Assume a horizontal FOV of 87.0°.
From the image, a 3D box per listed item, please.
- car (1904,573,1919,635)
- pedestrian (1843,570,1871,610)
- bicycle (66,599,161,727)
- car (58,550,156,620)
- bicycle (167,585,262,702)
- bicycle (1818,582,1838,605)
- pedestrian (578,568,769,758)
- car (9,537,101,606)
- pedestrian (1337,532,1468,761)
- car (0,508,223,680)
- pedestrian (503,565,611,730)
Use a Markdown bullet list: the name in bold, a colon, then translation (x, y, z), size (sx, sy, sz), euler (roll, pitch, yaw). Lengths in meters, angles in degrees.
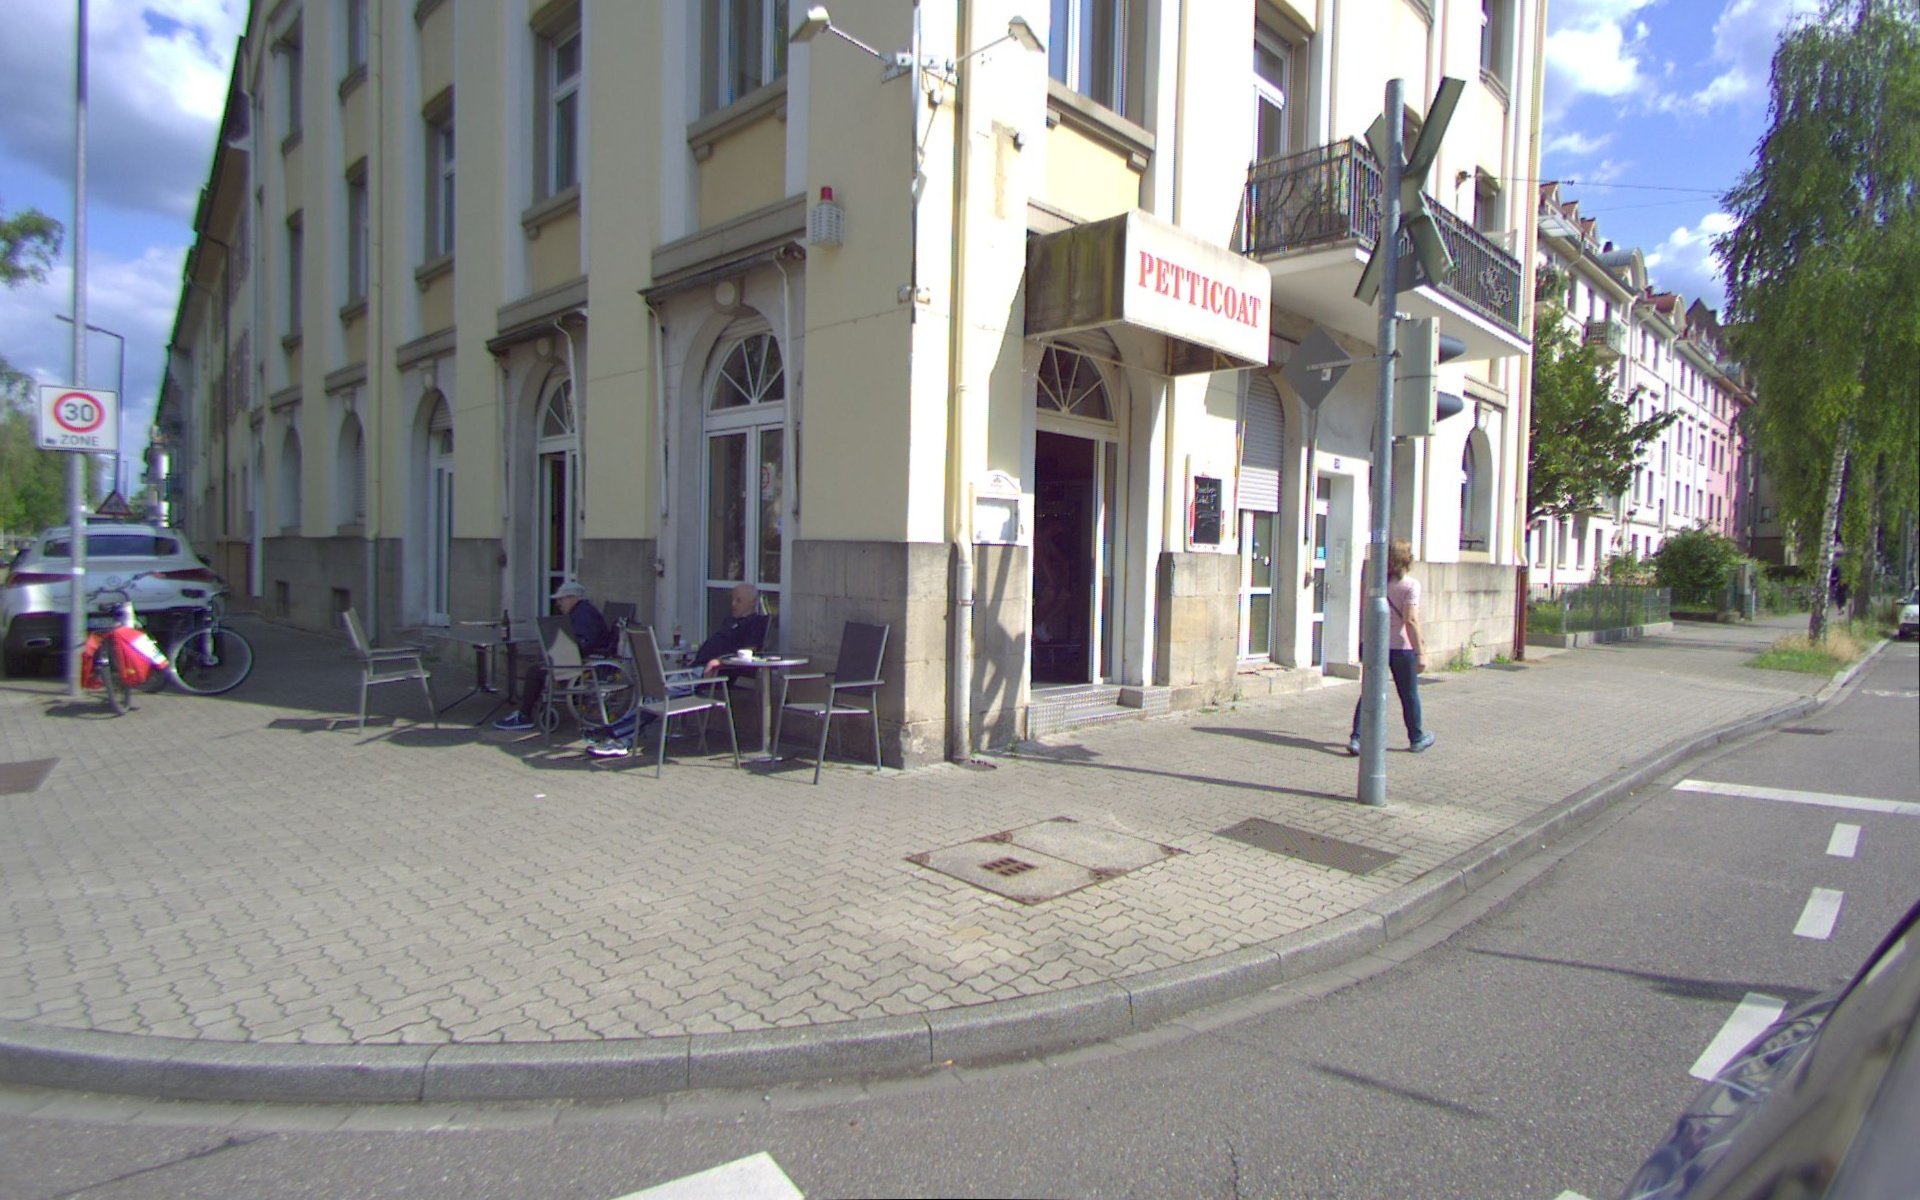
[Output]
- **car**: translation (27.435, 0.073, 27.900), size (3.931, 1.650, 1.723), euler (-1, 0, -42)
- **pedestrian**: translation (39.505, -0.427, 44.583), size (0.679, 1.703, 0.731), euler (0, 4, -41)
- **bicycle**: translation (-7.811, 0.531, 9.318), size (0.575, 0.980, 1.650), euler (-2, 4, -42)
- **car**: translation (-19.808, -0.404, 23.489), size (1.595, 1.477, 3.590), euler (-3, 4, -41)
- **bicycle**: translation (-7.571, 0.397, 10.260), size (0.575, 0.979, 1.650), euler (-3, 6, -42)
- **bicycle**: translation (42.606, -0.308, 49.687), size (2.146, 1.090, 0.472), euler (-1, 3, -43)
- **pedestrian**: translation (-2.136, 0.418, 7.648), size (0.534, 1.284, 1.284), euler (2, 3, 42)
- **car**: translation (-24.894, -0.796, 27.934), size (1.706, 1.760, 3.645), euler (1, 1, -40)
- **pedestrian**: translation (3.470, 0.322, 7.933), size (0.672, 1.668, 0.752), euler (5, 4, 41)
- **car**: translation (-10.650, -0.167, 12.794), size (1.879, 1.754, 4.770), euler (0, 2, -39)
- **pedestrian**: translation (-3.349, 0.366, 8.414), size (0.534, 1.284, 0.651), euler (4, 3, 42)
